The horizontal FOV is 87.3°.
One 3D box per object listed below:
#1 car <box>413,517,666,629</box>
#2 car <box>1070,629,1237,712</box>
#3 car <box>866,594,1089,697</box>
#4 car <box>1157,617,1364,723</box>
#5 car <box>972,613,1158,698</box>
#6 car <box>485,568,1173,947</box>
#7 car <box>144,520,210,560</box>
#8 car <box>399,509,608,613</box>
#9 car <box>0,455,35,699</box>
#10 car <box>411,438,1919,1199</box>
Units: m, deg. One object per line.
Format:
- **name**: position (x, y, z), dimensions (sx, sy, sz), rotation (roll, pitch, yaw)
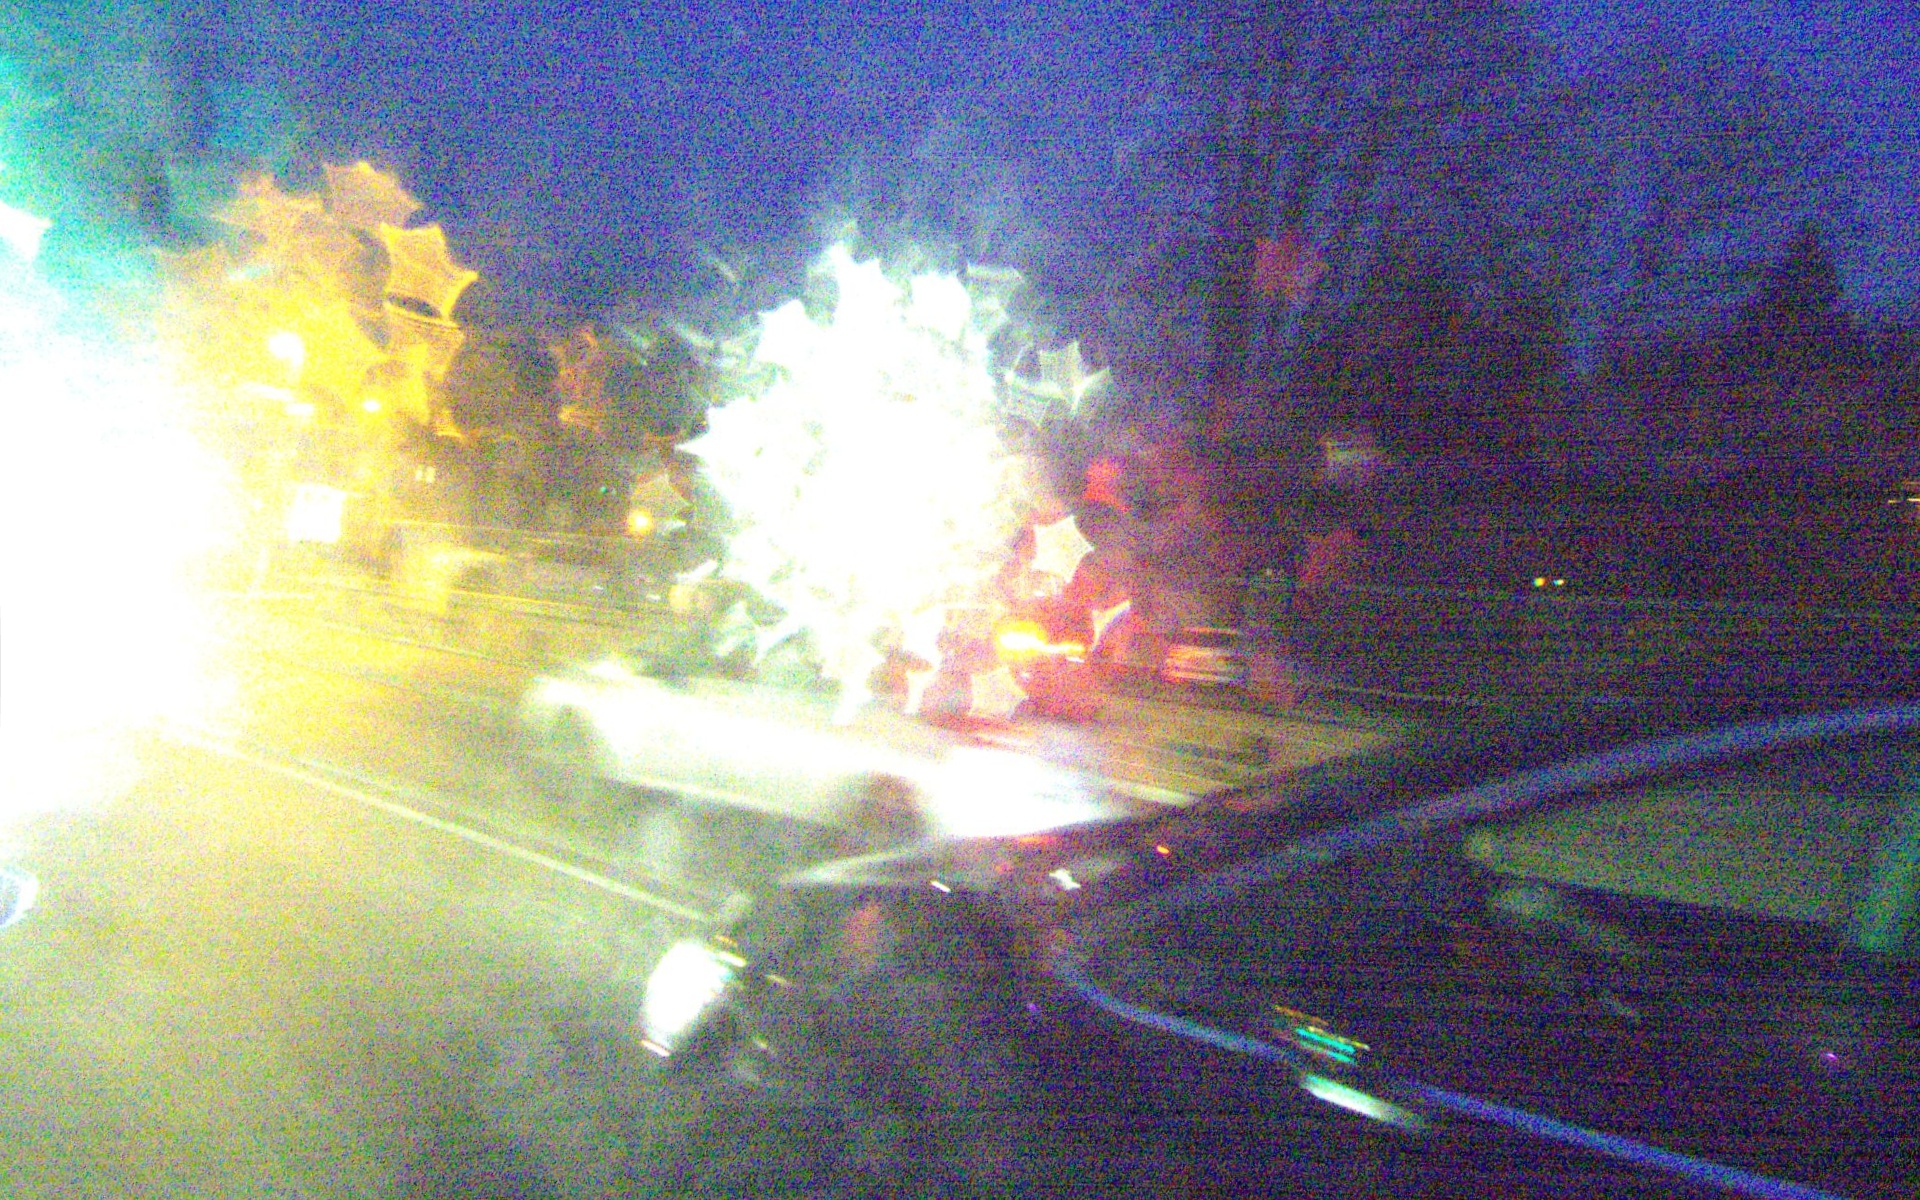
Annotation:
- **car**: position (-8.230, -0.465, 19.763), dimensions (4.296, 1.476, 1.838), rotation (9, -2, -30)
- **car**: position (4.115, 1.509, 21.156), dimensions (3.483, 1.306, 1.457), rotation (10, -3, -40)
- **car**: position (0.215, 0.844, 20.019), dimensions (1.714, 1.500, 4.657), rotation (9, -3, -39)
- **car**: position (5.700, 1.346, 18.901), dimensions (3.920, 1.504, 1.745), rotation (9, -3, -40)
- **car**: position (2.485, 1.314, 23.480), dimensions (3.963, 1.446, 1.829), rotation (9, -3, -34)
- **car**: position (-0.968, 0.787, 6.632), dimensions (4.166, 1.459, 1.788), rotation (7, 0, 31)
- **car**: position (-41.315, -3.197, 53.064), dimensions (4.011, 1.688, 1.772), rotation (6, -3, 40)
- **car**: position (-9.865, -0.789, 21.808), dimensions (3.847, 1.592, 1.820), rotation (9, -2, -30)
- **car**: position (-9.684, -0.451, 8.119), dimensions (4.266, 1.886, 1.857), rotation (6, -2, 29)
- **car**: position (1.546, 0.871, 1.417), dimensions (4.860, 1.755, 1.838), rotation (6, -2, 32)
